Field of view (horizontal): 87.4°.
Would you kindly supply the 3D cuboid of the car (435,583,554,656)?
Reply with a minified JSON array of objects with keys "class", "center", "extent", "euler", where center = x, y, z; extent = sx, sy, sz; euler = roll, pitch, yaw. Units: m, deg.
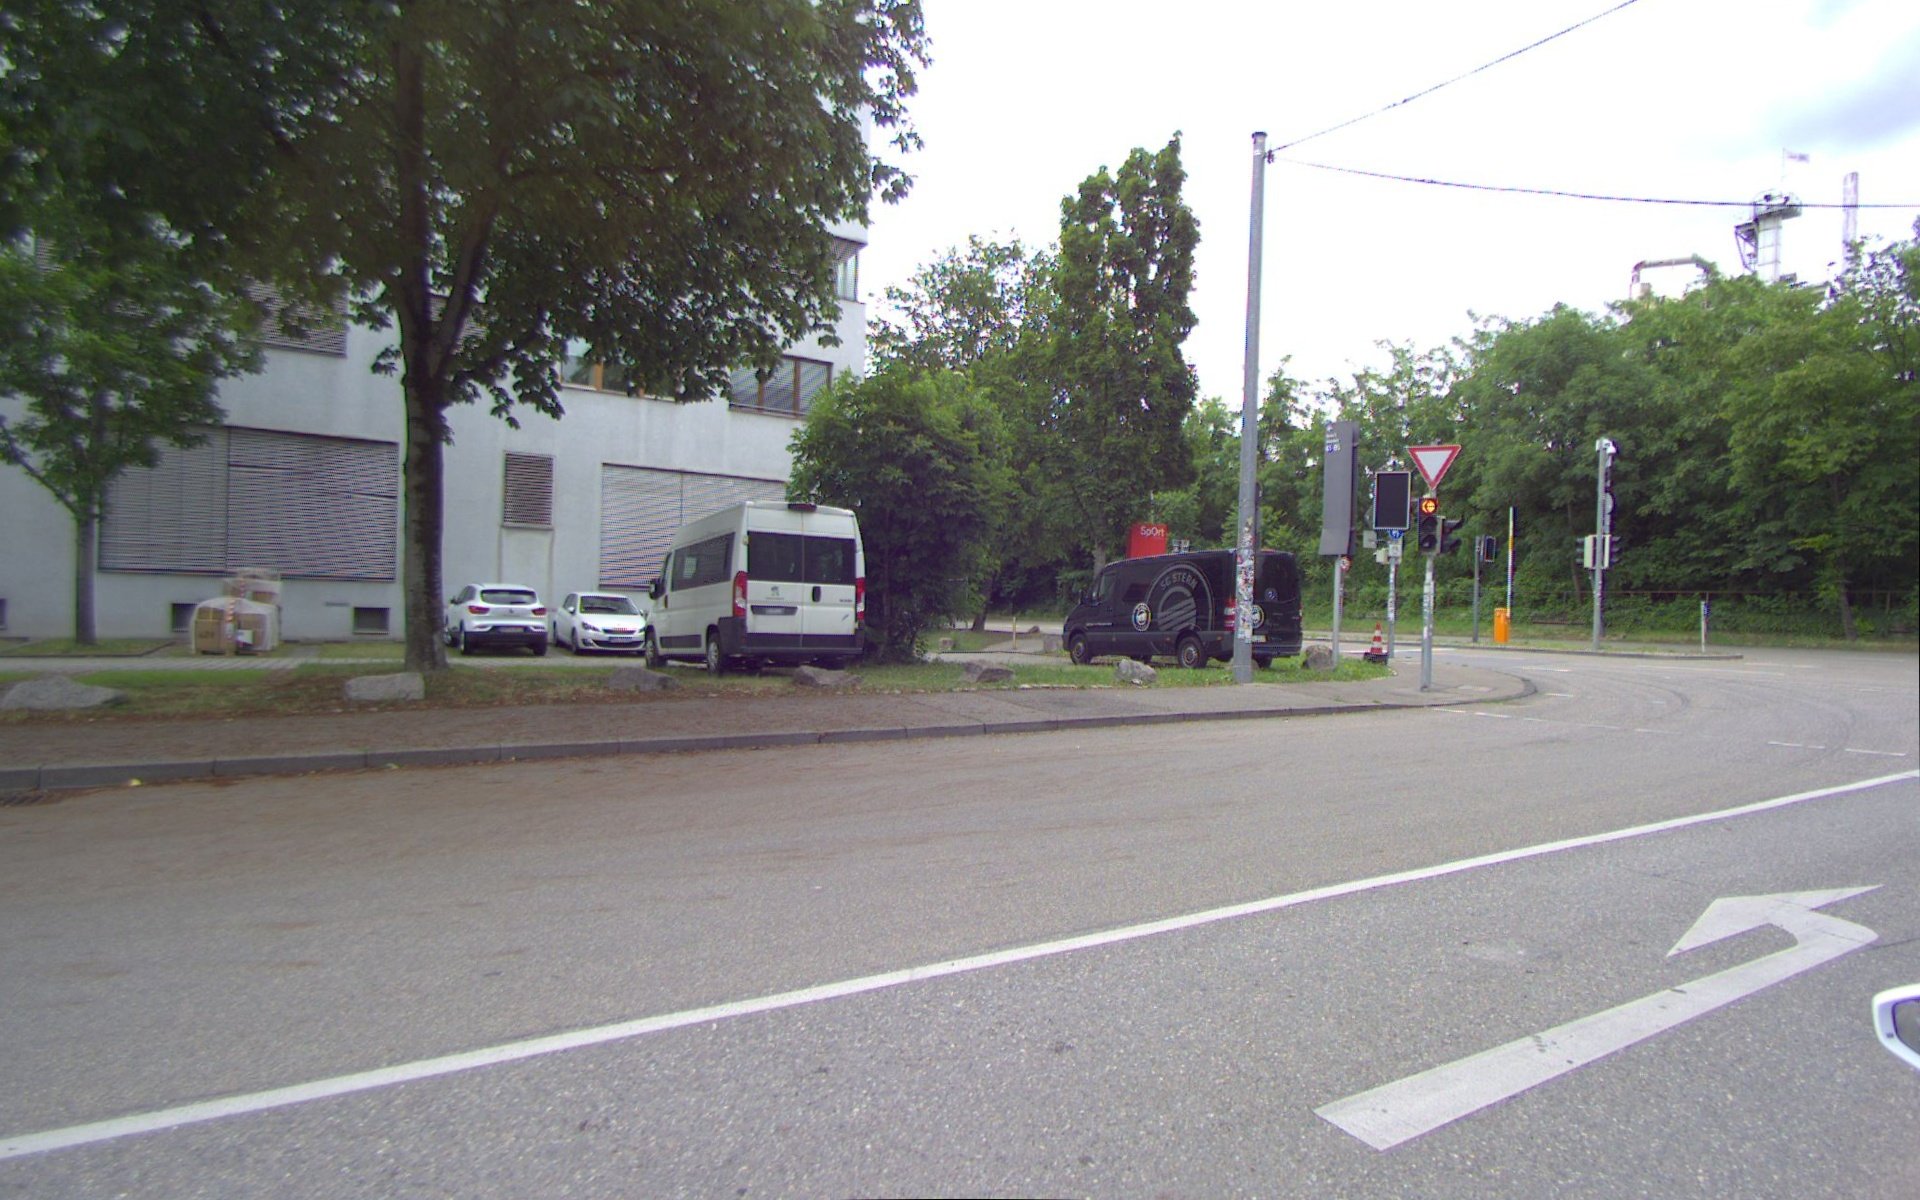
[{"class":"car","center":[-11.056,0.412,23.696],"extent":[1.881,1.475,3.972],"euler":[3,0,-34]}]

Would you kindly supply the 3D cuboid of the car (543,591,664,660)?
[{"class":"car","center":[-9.038,0.596,25.261],"extent":[1.881,1.475,3.972],"euler":[3,0,-34]}]

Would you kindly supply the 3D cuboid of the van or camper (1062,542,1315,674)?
[{"class":"van or camper","center":[4.530,0.250,20.983],"extent":[2.036,2.343,5.513],"euler":[3,-3,-28]}]

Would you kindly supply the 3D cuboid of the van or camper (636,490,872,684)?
[{"class":"van or camper","center":[-3.499,-0.189,16.161],"extent":[2.039,2.604,4.943],"euler":[3,0,-32]}]
